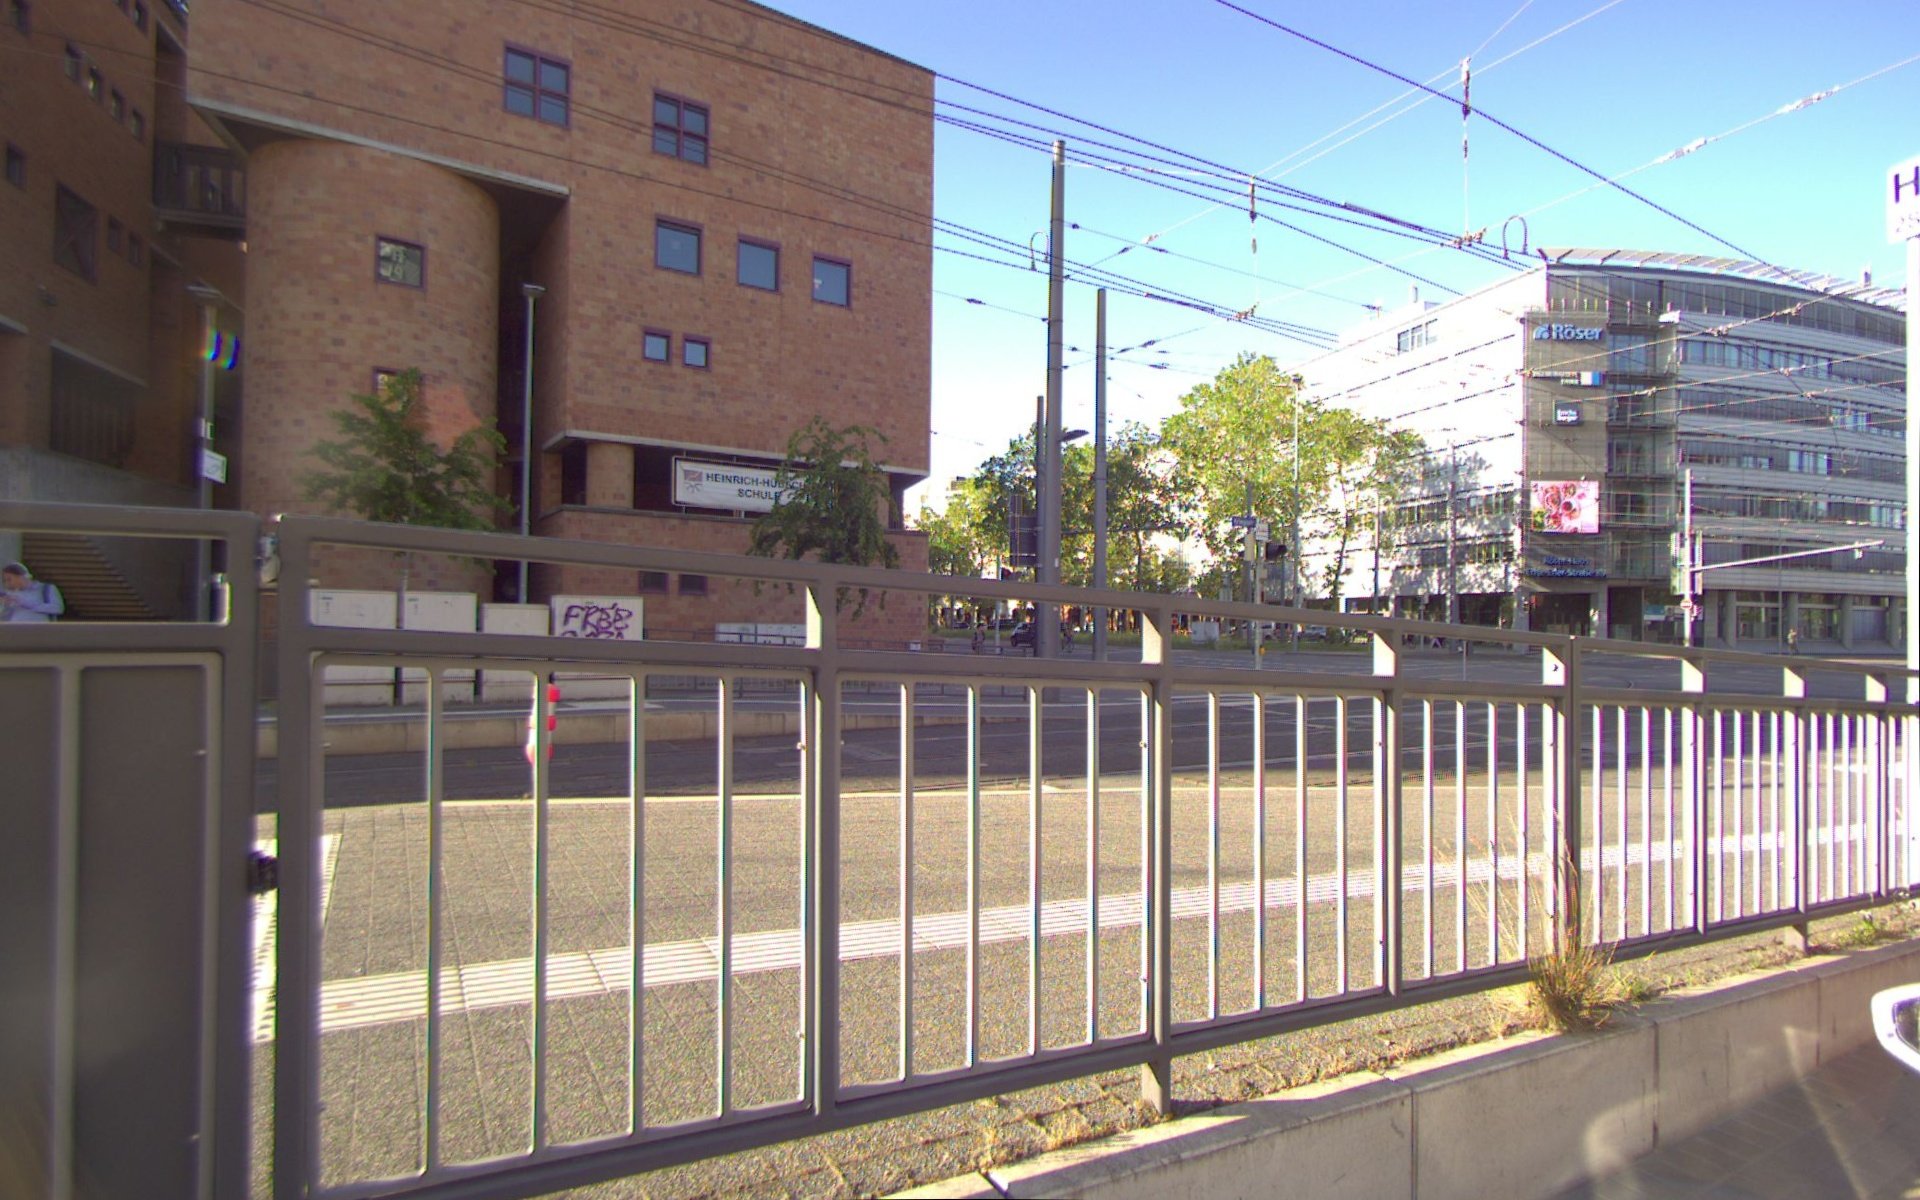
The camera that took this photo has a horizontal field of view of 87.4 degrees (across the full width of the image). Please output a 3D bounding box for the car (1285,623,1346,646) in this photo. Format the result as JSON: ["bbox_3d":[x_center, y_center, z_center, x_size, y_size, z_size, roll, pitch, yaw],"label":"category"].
[{"bbox_3d":[27.008,2.625,76.386,1.840,1.594,4.387,-1,0,-25],"label":"car"}]

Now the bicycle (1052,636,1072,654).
[{"bbox_3d":[5.360,2.367,52.853,0.528,0.925,1.564,1,-1,-15],"label":"bicycle"}]

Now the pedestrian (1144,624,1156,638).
[{"bbox_3d":[20.720,3.376,109.423,0.860,1.567,0.989,1,-1,-22],"label":"pedestrian"}]

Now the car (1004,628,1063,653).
[{"bbox_3d":[4.407,2.405,60.259,1.639,1.346,3.587,2,0,-34],"label":"car"}]

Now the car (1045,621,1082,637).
[{"bbox_3d":[11.013,3.095,107.385,1.969,1.650,4.055,0,-1,-29],"label":"car"}]

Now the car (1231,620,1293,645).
[{"bbox_3d":[24.341,2.617,81.175,1.904,1.868,4.889,-1,0,-28],"label":"car"}]

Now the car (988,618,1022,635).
[{"bbox_3d":[5.271,3.085,117.579,2.011,2.003,4.382,0,-1,-29],"label":"car"}]

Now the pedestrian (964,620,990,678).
[{"bbox_3d":[0.495,1.402,28.970,0.501,1.639,0.504,2,0,-40],"label":"pedestrian"}]

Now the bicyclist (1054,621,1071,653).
[{"bbox_3d":[5.392,1.936,52.759,0.614,1.643,0.812,1,-1,-16],"label":"bicyclist"}]

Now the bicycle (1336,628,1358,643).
[{"bbox_3d":[30.539,2.783,79.319,1.812,1.167,0.467,0,0,-23],"label":"bicycle"}]

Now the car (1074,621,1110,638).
[{"bbox_3d":[13.436,2.994,102.239,1.840,1.660,3.844,1,-1,-25],"label":"car"}]

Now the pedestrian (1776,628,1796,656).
[{"bbox_3d":[54.688,2.778,66.526,0.872,1.847,0.674,1,-2,-20],"label":"pedestrian"}]

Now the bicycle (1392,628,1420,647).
[{"bbox_3d":[31.236,2.624,70.338,0.605,1.179,1.835,-2,2,-27],"label":"bicycle"}]

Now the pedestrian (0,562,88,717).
[{"bbox_3d":[-9.644,0.404,10.514,0.647,1.555,0.696,1,-1,-33],"label":"pedestrian"}]

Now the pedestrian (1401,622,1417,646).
[{"bbox_3d":[31.497,2.393,70.459,0.598,1.633,0.832,-2,2,-26],"label":"pedestrian"}]
